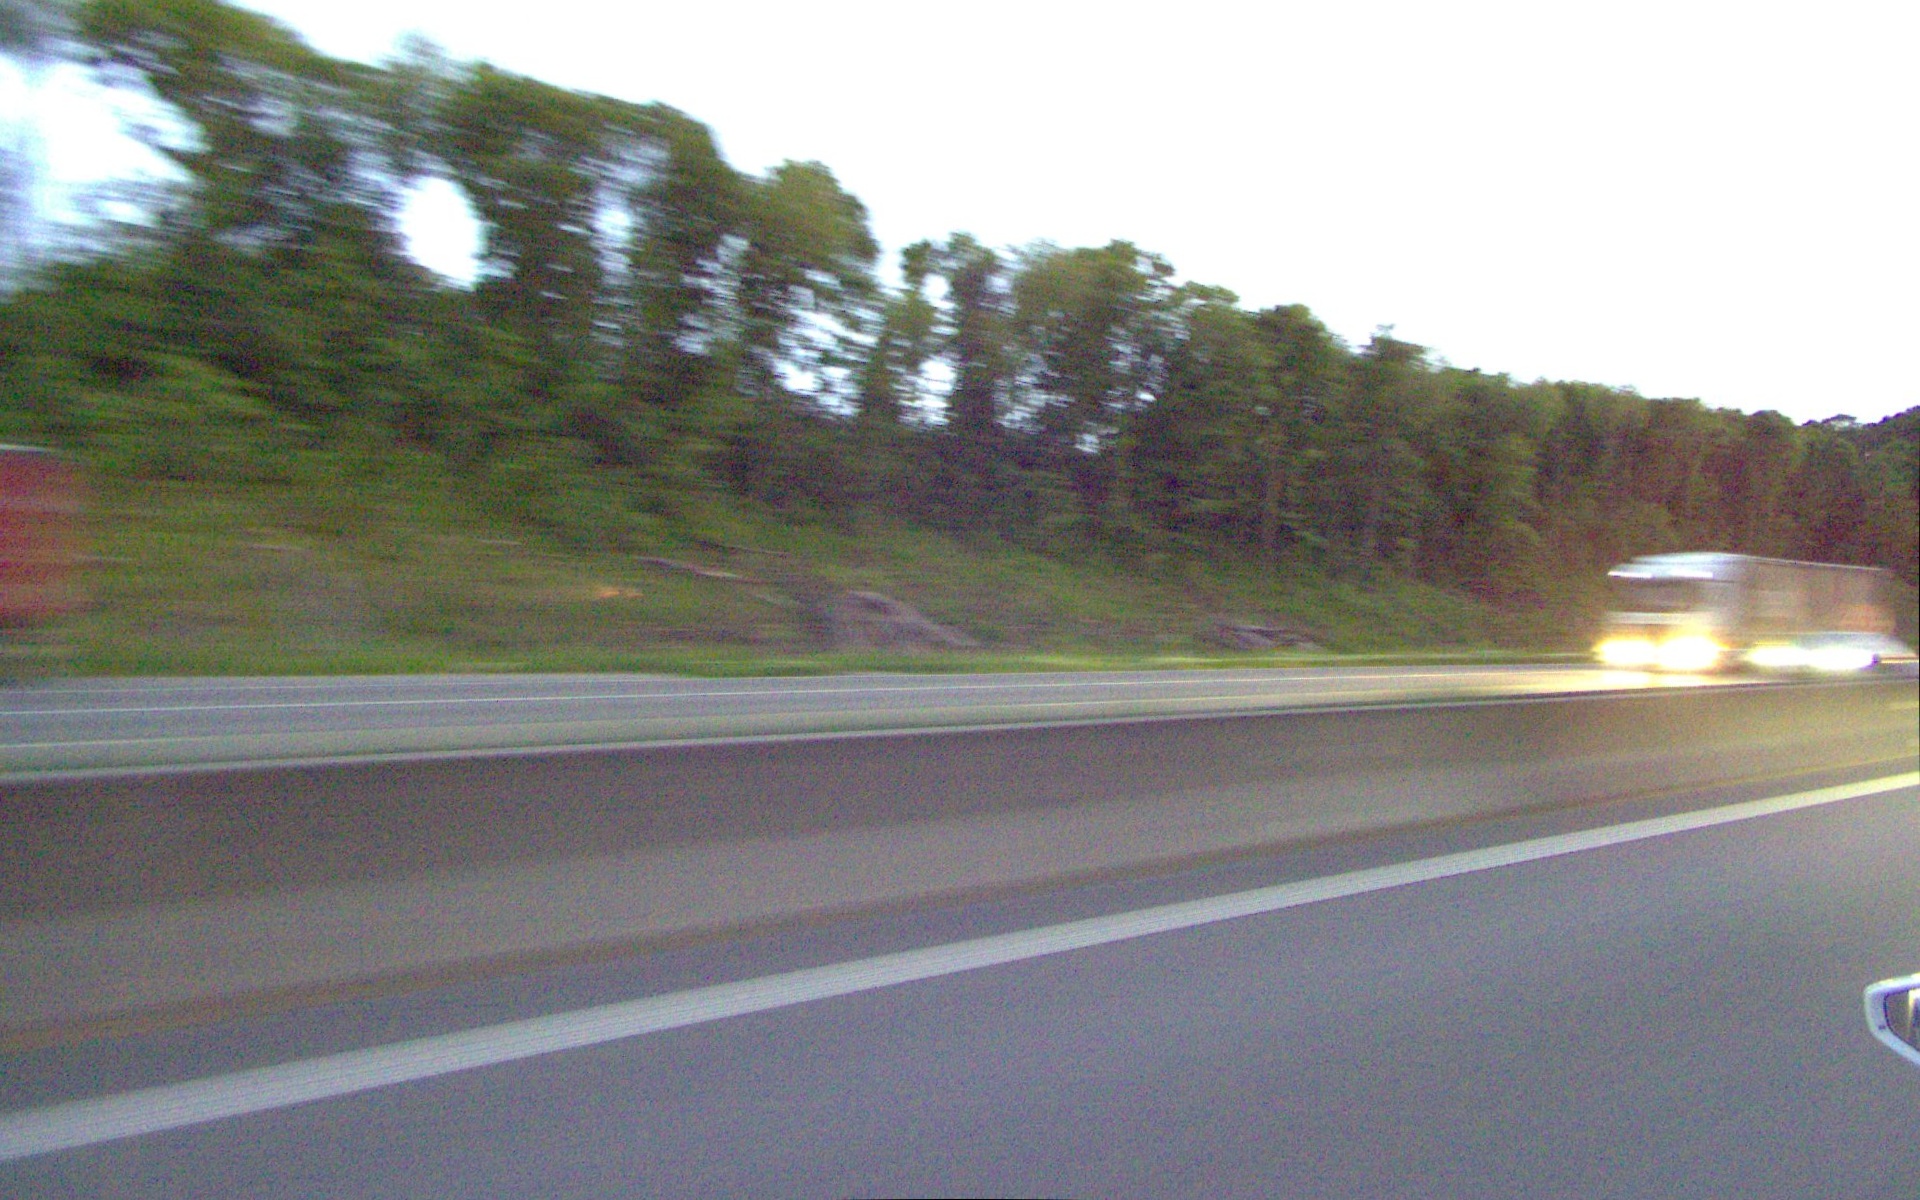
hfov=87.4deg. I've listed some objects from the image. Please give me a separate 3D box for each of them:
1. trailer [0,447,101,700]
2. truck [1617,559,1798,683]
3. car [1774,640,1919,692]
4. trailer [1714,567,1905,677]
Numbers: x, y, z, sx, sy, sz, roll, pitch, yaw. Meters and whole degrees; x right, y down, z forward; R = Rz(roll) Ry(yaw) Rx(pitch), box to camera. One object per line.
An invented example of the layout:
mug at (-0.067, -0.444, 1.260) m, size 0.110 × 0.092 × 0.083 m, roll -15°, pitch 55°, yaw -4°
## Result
trailer at (-22.087, -0.673, 14.650) m, size 14.015 × 4.159 × 3.176 m, roll 2°, pitch -1°, yaw -30°
truck at (26.675, 0.789, 35.755) m, size 7.038 × 4.024 × 2.634 m, roll 2°, pitch -1°, yaw -30°
car at (27.755, 2.020, 31.371) m, size 5.291 × 1.471 × 1.901 m, roll 2°, pitch -1°, yaw -30°
trailer at (34.027, 0.929, 40.075) m, size 10.065 × 3.982 × 2.634 m, roll 2°, pitch -1°, yaw -30°
